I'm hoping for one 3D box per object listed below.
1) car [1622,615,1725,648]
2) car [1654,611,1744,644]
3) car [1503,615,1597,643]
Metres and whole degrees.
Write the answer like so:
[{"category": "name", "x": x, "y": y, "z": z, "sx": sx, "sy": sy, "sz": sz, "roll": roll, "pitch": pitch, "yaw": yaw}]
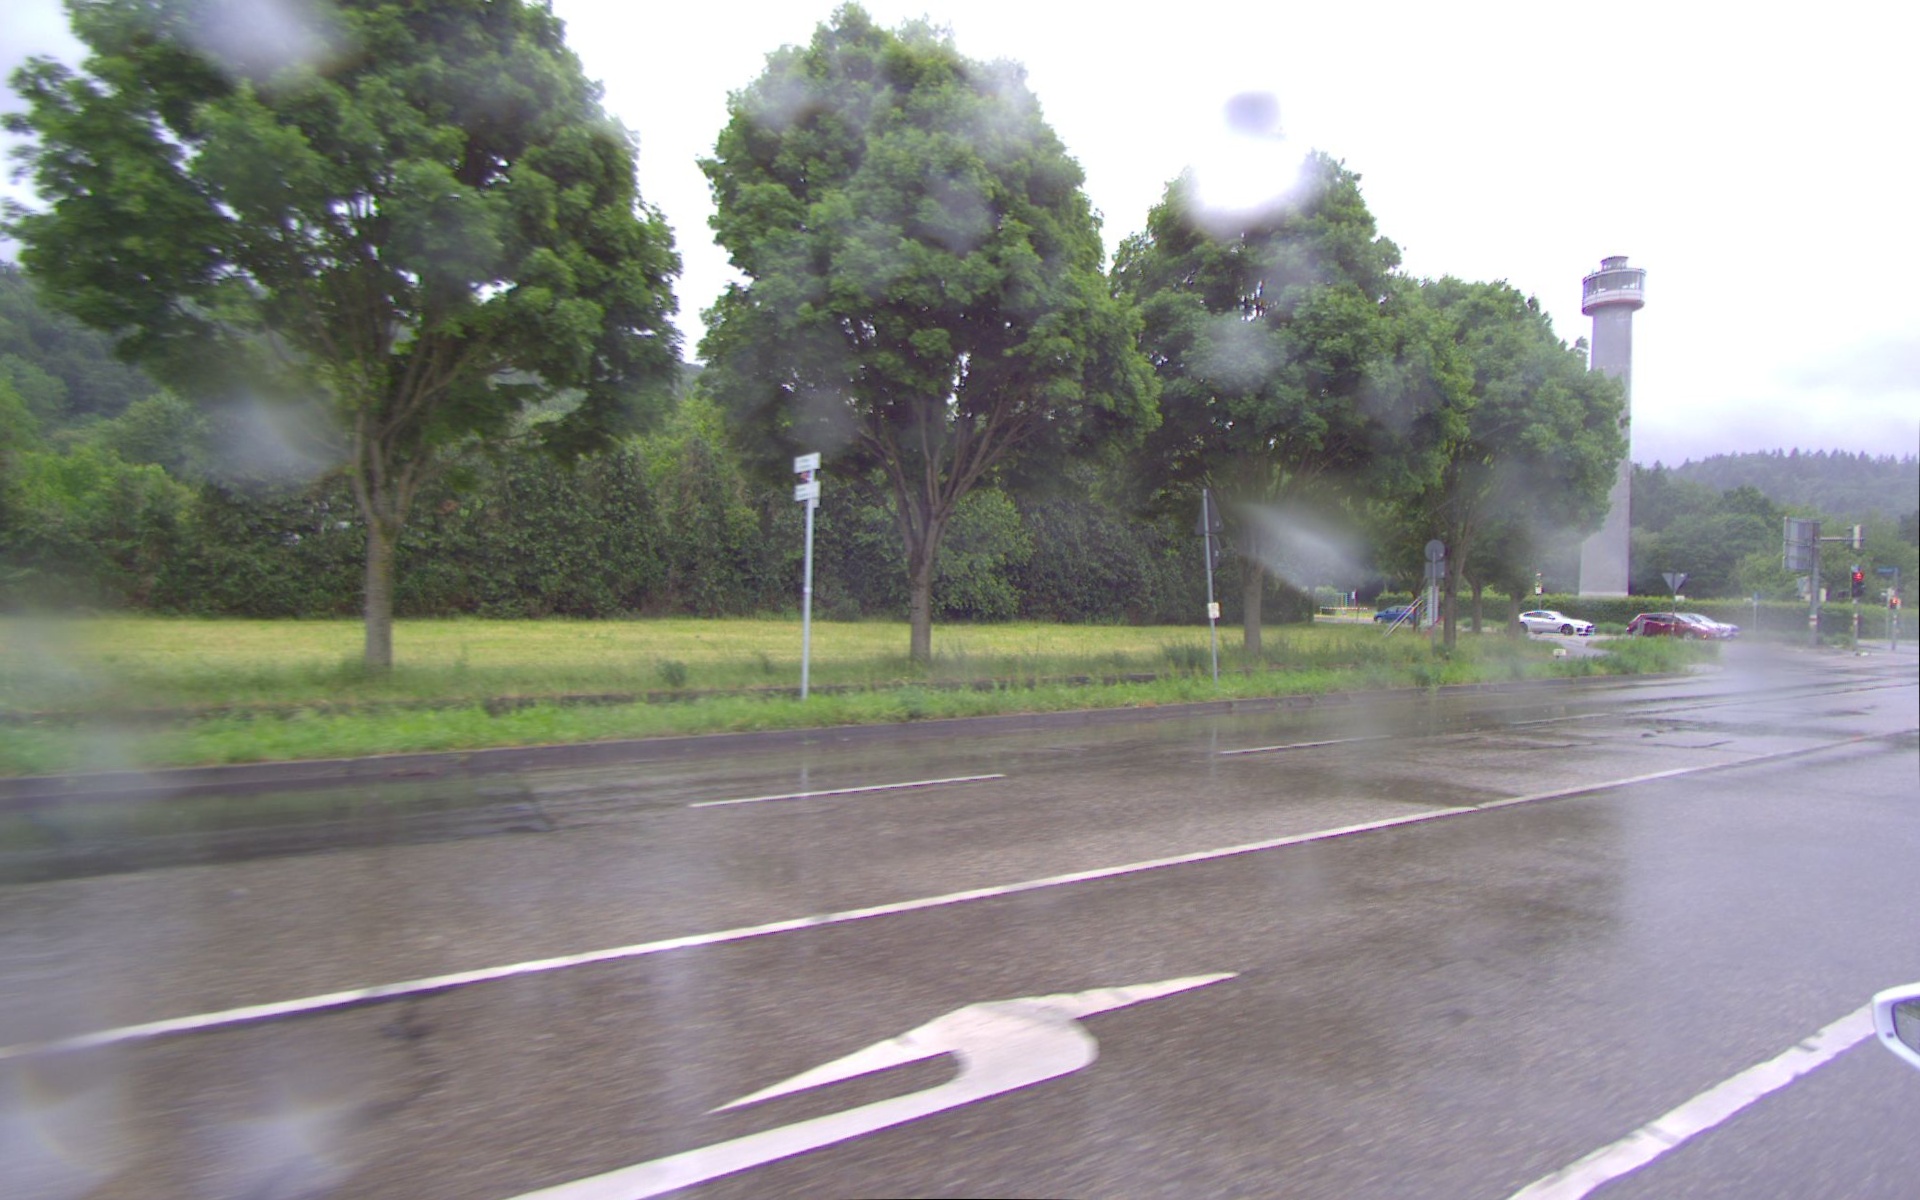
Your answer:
[{"category": "car", "x": 39.694, "y": 1.735, "z": 55.973, "sx": 1.710, "sy": 1.601, "sz": 4.360, "roll": 1, "pitch": 1, "yaw": -26}, {"category": "car", "x": 42.693, "y": 1.547, "z": 58.124, "sx": 1.723, "sy": 1.734, "sz": 3.788, "roll": 1, "pitch": 1, "yaw": -26}, {"category": "car", "x": 36.375, "y": 1.763, "z": 62.080, "sx": 1.776, "sy": 1.574, "sz": 4.865, "roll": 1, "pitch": 0, "yaw": -26}]
